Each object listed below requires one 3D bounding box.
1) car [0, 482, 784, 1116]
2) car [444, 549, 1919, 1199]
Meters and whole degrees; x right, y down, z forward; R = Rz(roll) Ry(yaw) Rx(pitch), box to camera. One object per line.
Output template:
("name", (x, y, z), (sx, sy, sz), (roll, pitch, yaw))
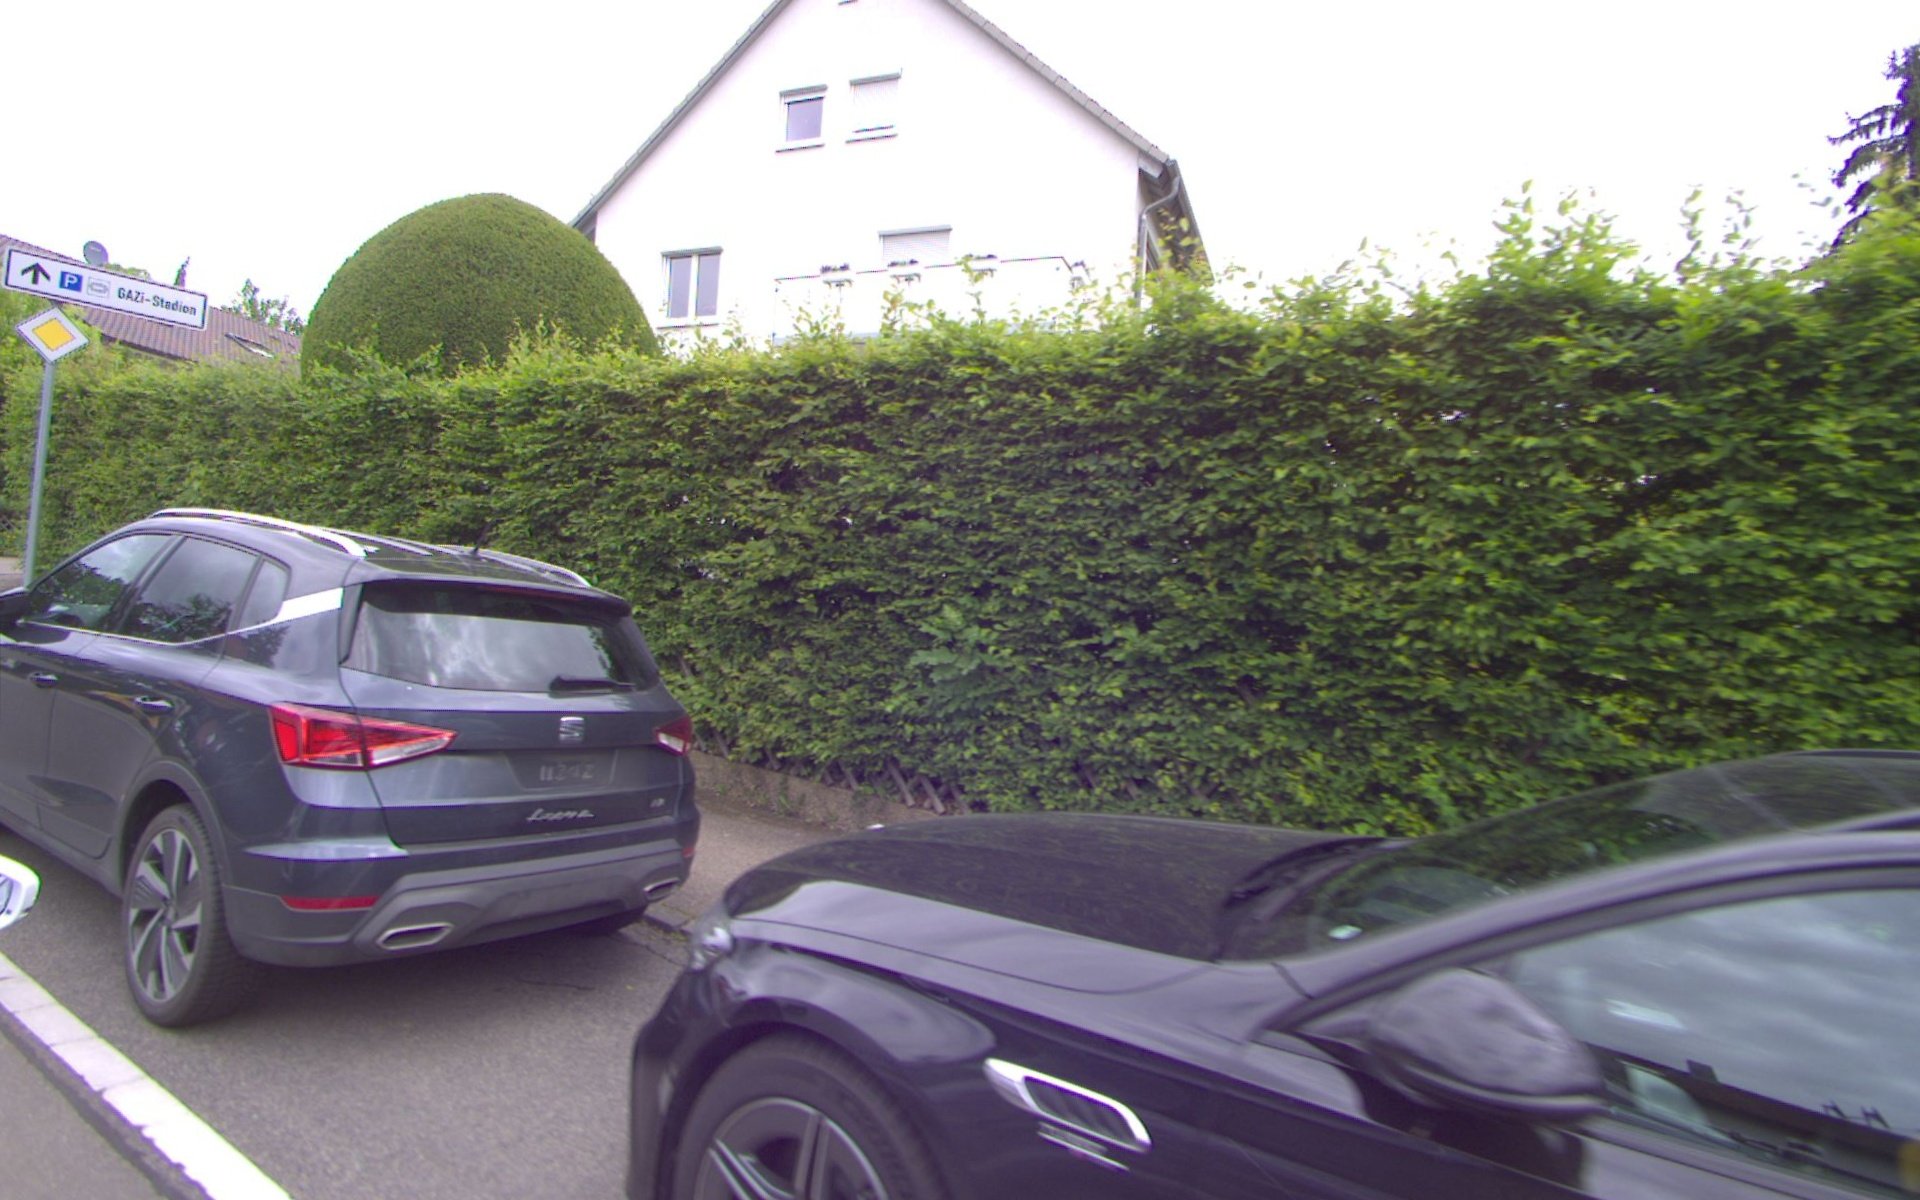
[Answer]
("car", (-3.069, 0.384, 4.418), (4.306, 1.507, 1.792), (7, 1, 31))
("car", (1.504, 0.963, 1.721), (5.124, 1.513, 1.924), (7, 0, 34))
